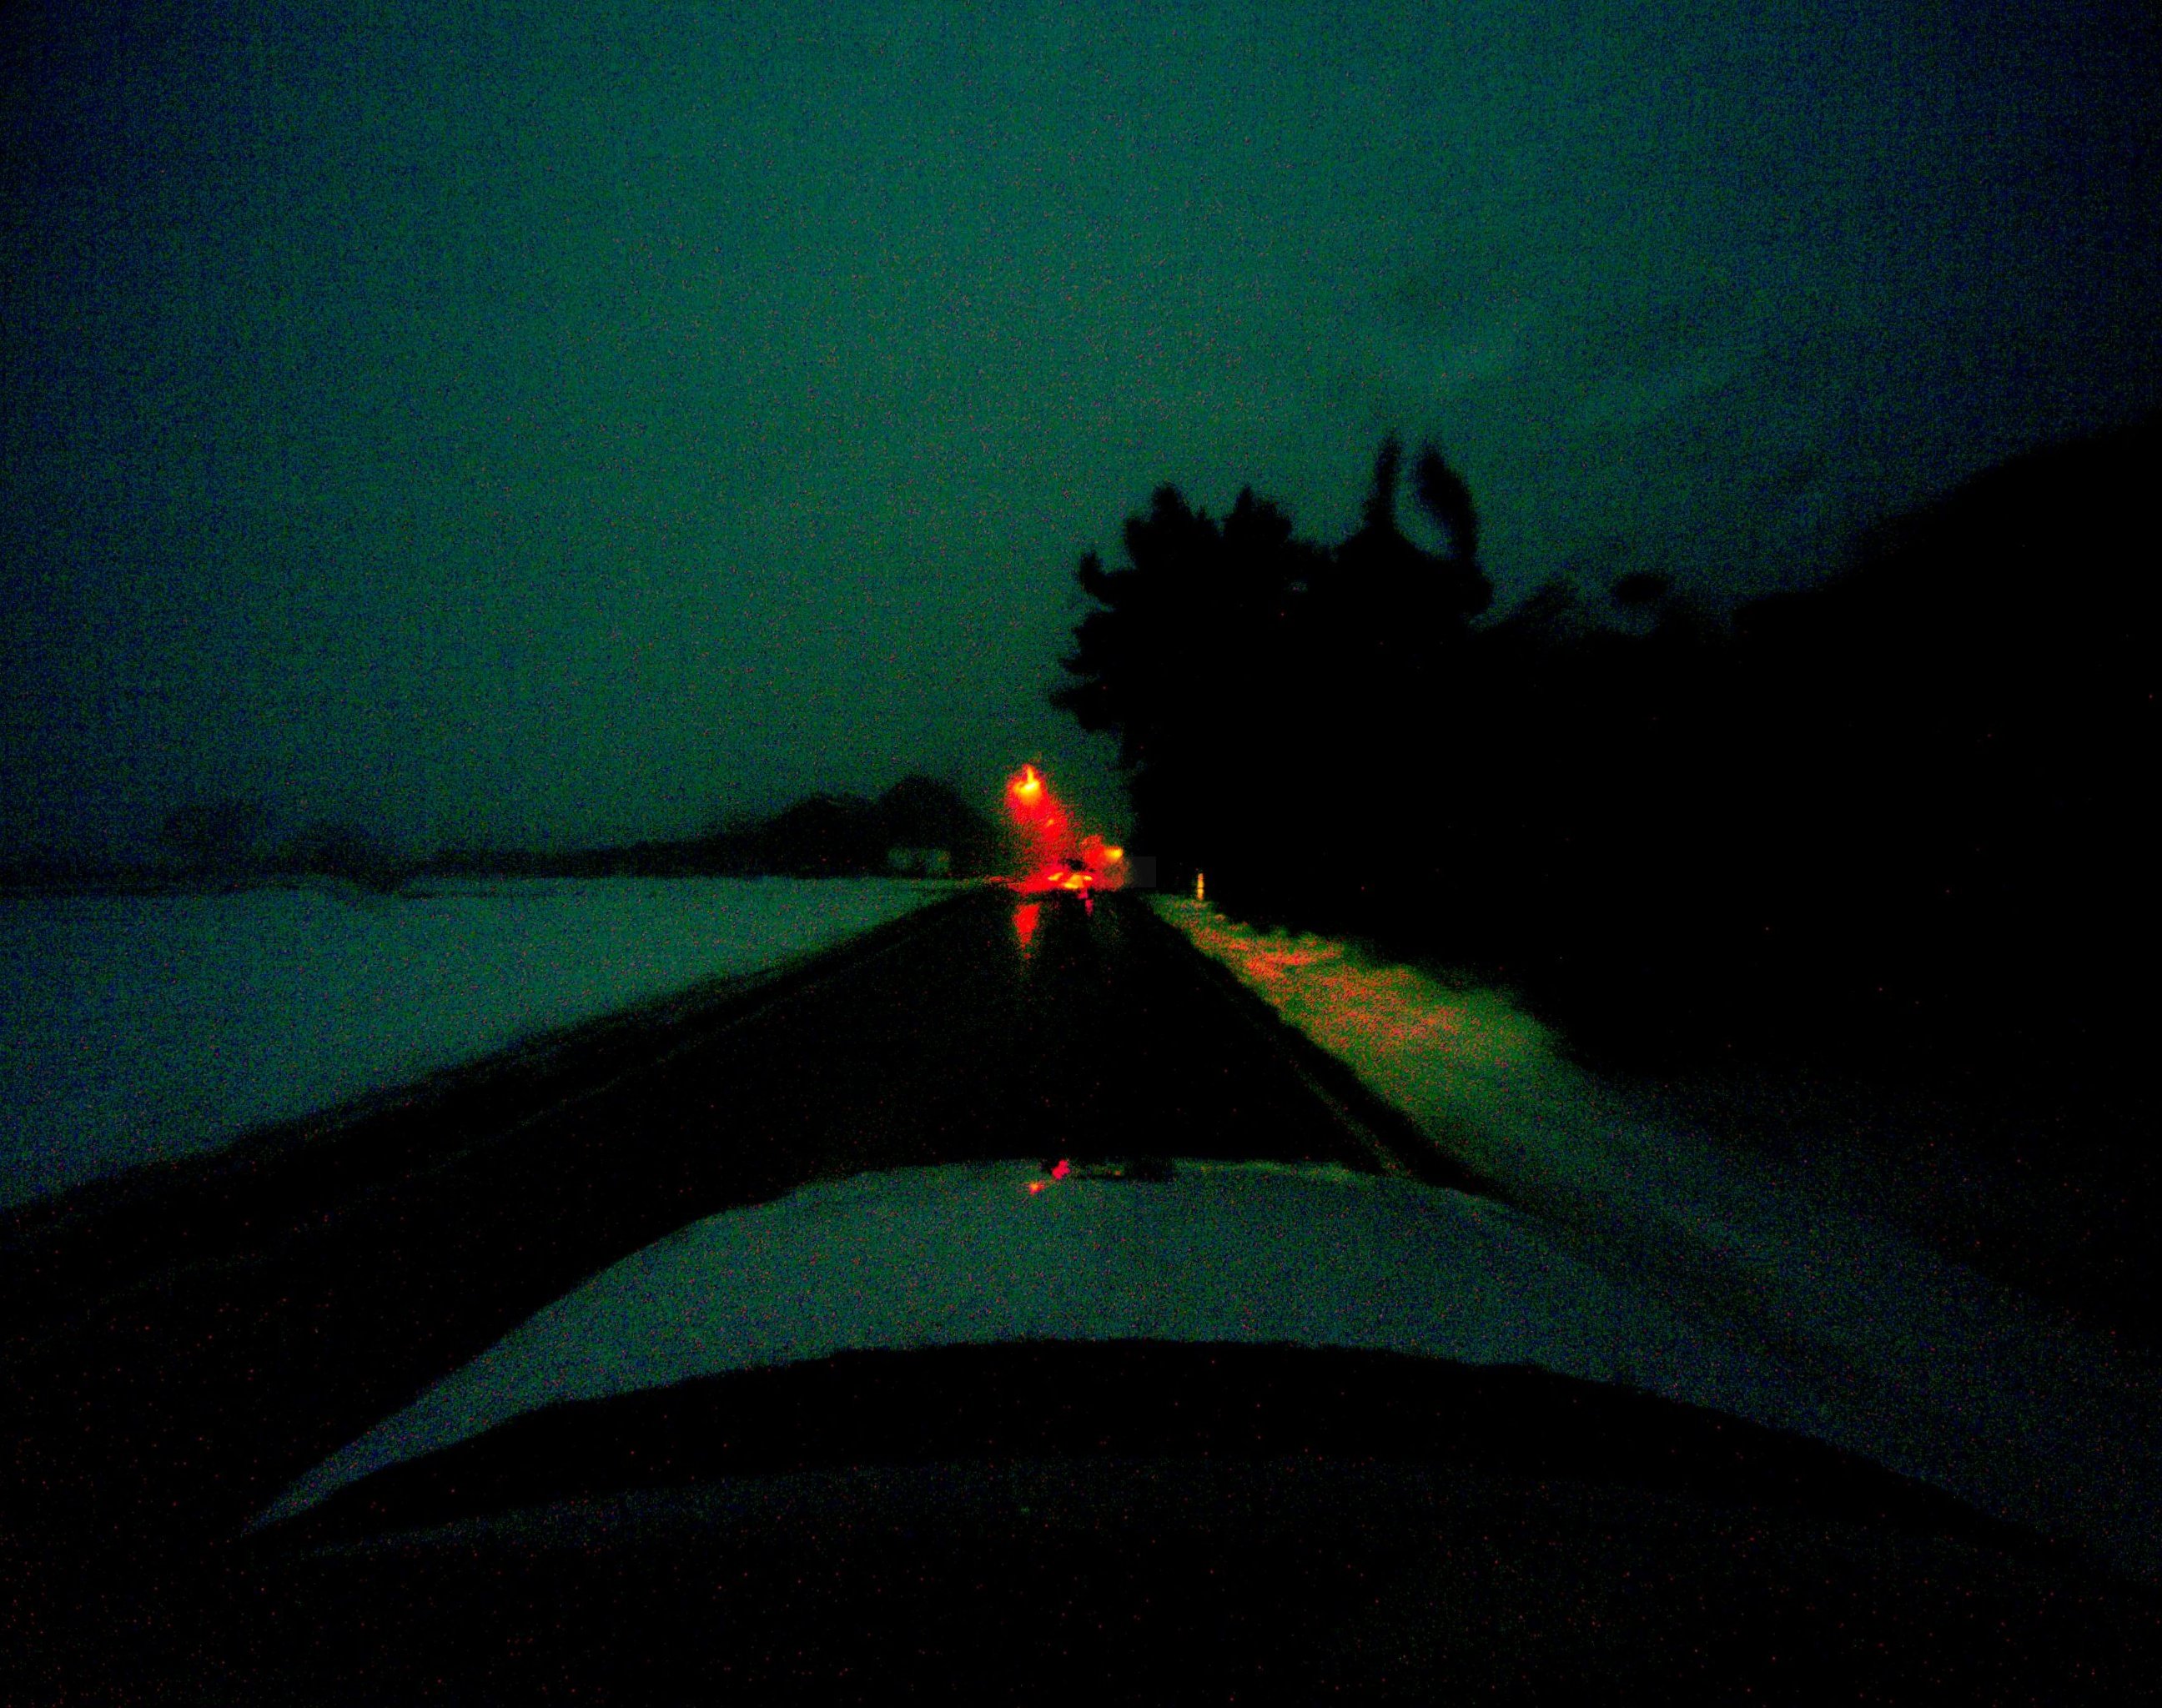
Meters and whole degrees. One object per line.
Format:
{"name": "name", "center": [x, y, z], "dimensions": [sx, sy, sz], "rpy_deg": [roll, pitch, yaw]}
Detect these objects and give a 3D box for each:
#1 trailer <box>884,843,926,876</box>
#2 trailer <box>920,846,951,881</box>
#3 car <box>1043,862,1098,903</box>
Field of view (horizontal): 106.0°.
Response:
{"name": "trailer", "center": [-13.946, 0.462, 64.662], "dimensions": [1.983, 2.489, 4.017], "rpy_deg": [-1, -1, 6]}
{"name": "trailer", "center": [-11.315, 0.743, 63.247], "dimensions": [1.696, 2.605, 3.420], "rpy_deg": [-1, -1, -21]}
{"name": "car", "center": [-0.359, 1.081, 32.595], "dimensions": [1.986, 1.508, 4.002], "rpy_deg": [-1, -1, 2]}
